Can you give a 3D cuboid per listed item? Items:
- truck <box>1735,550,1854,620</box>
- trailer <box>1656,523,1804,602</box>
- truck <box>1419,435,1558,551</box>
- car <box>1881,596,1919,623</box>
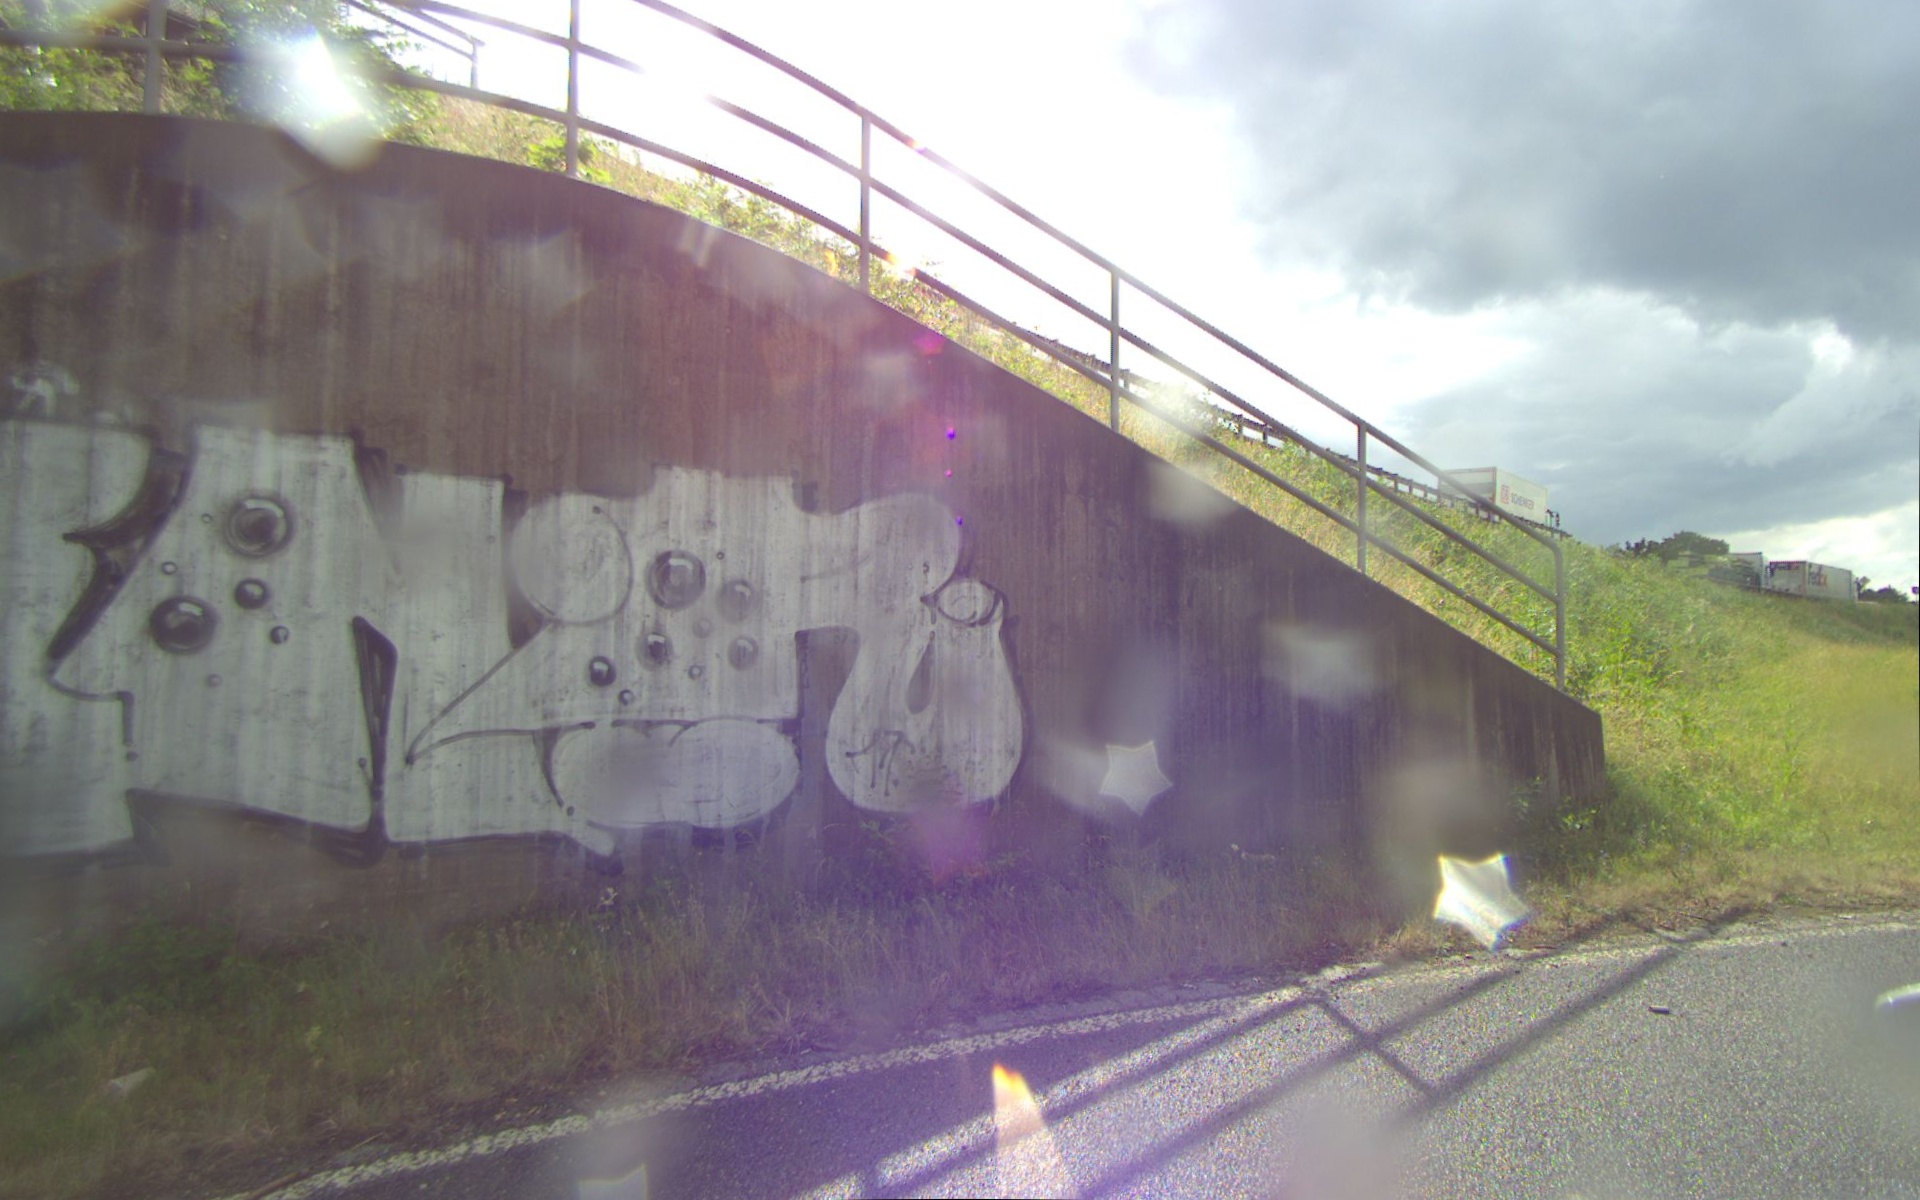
[{"bbox_3d":[73.678,-1.094,88.336,19.217,4.561,4.425,5,-3,-39],"label":"truck"},{"bbox_3d":[58.705,-2.542,76.130,20.051,4.007,4.378,5,-3,-39],"label":"trailer"},{"bbox_3d":[25.380,-4.881,47.965,9.177,4.017,3.149,5,-4,-44],"label":"truck"},{"bbox_3d":[76.428,0.766,80.335,1.815,2.040,3.948,5,-3,-43],"label":"car"}]
